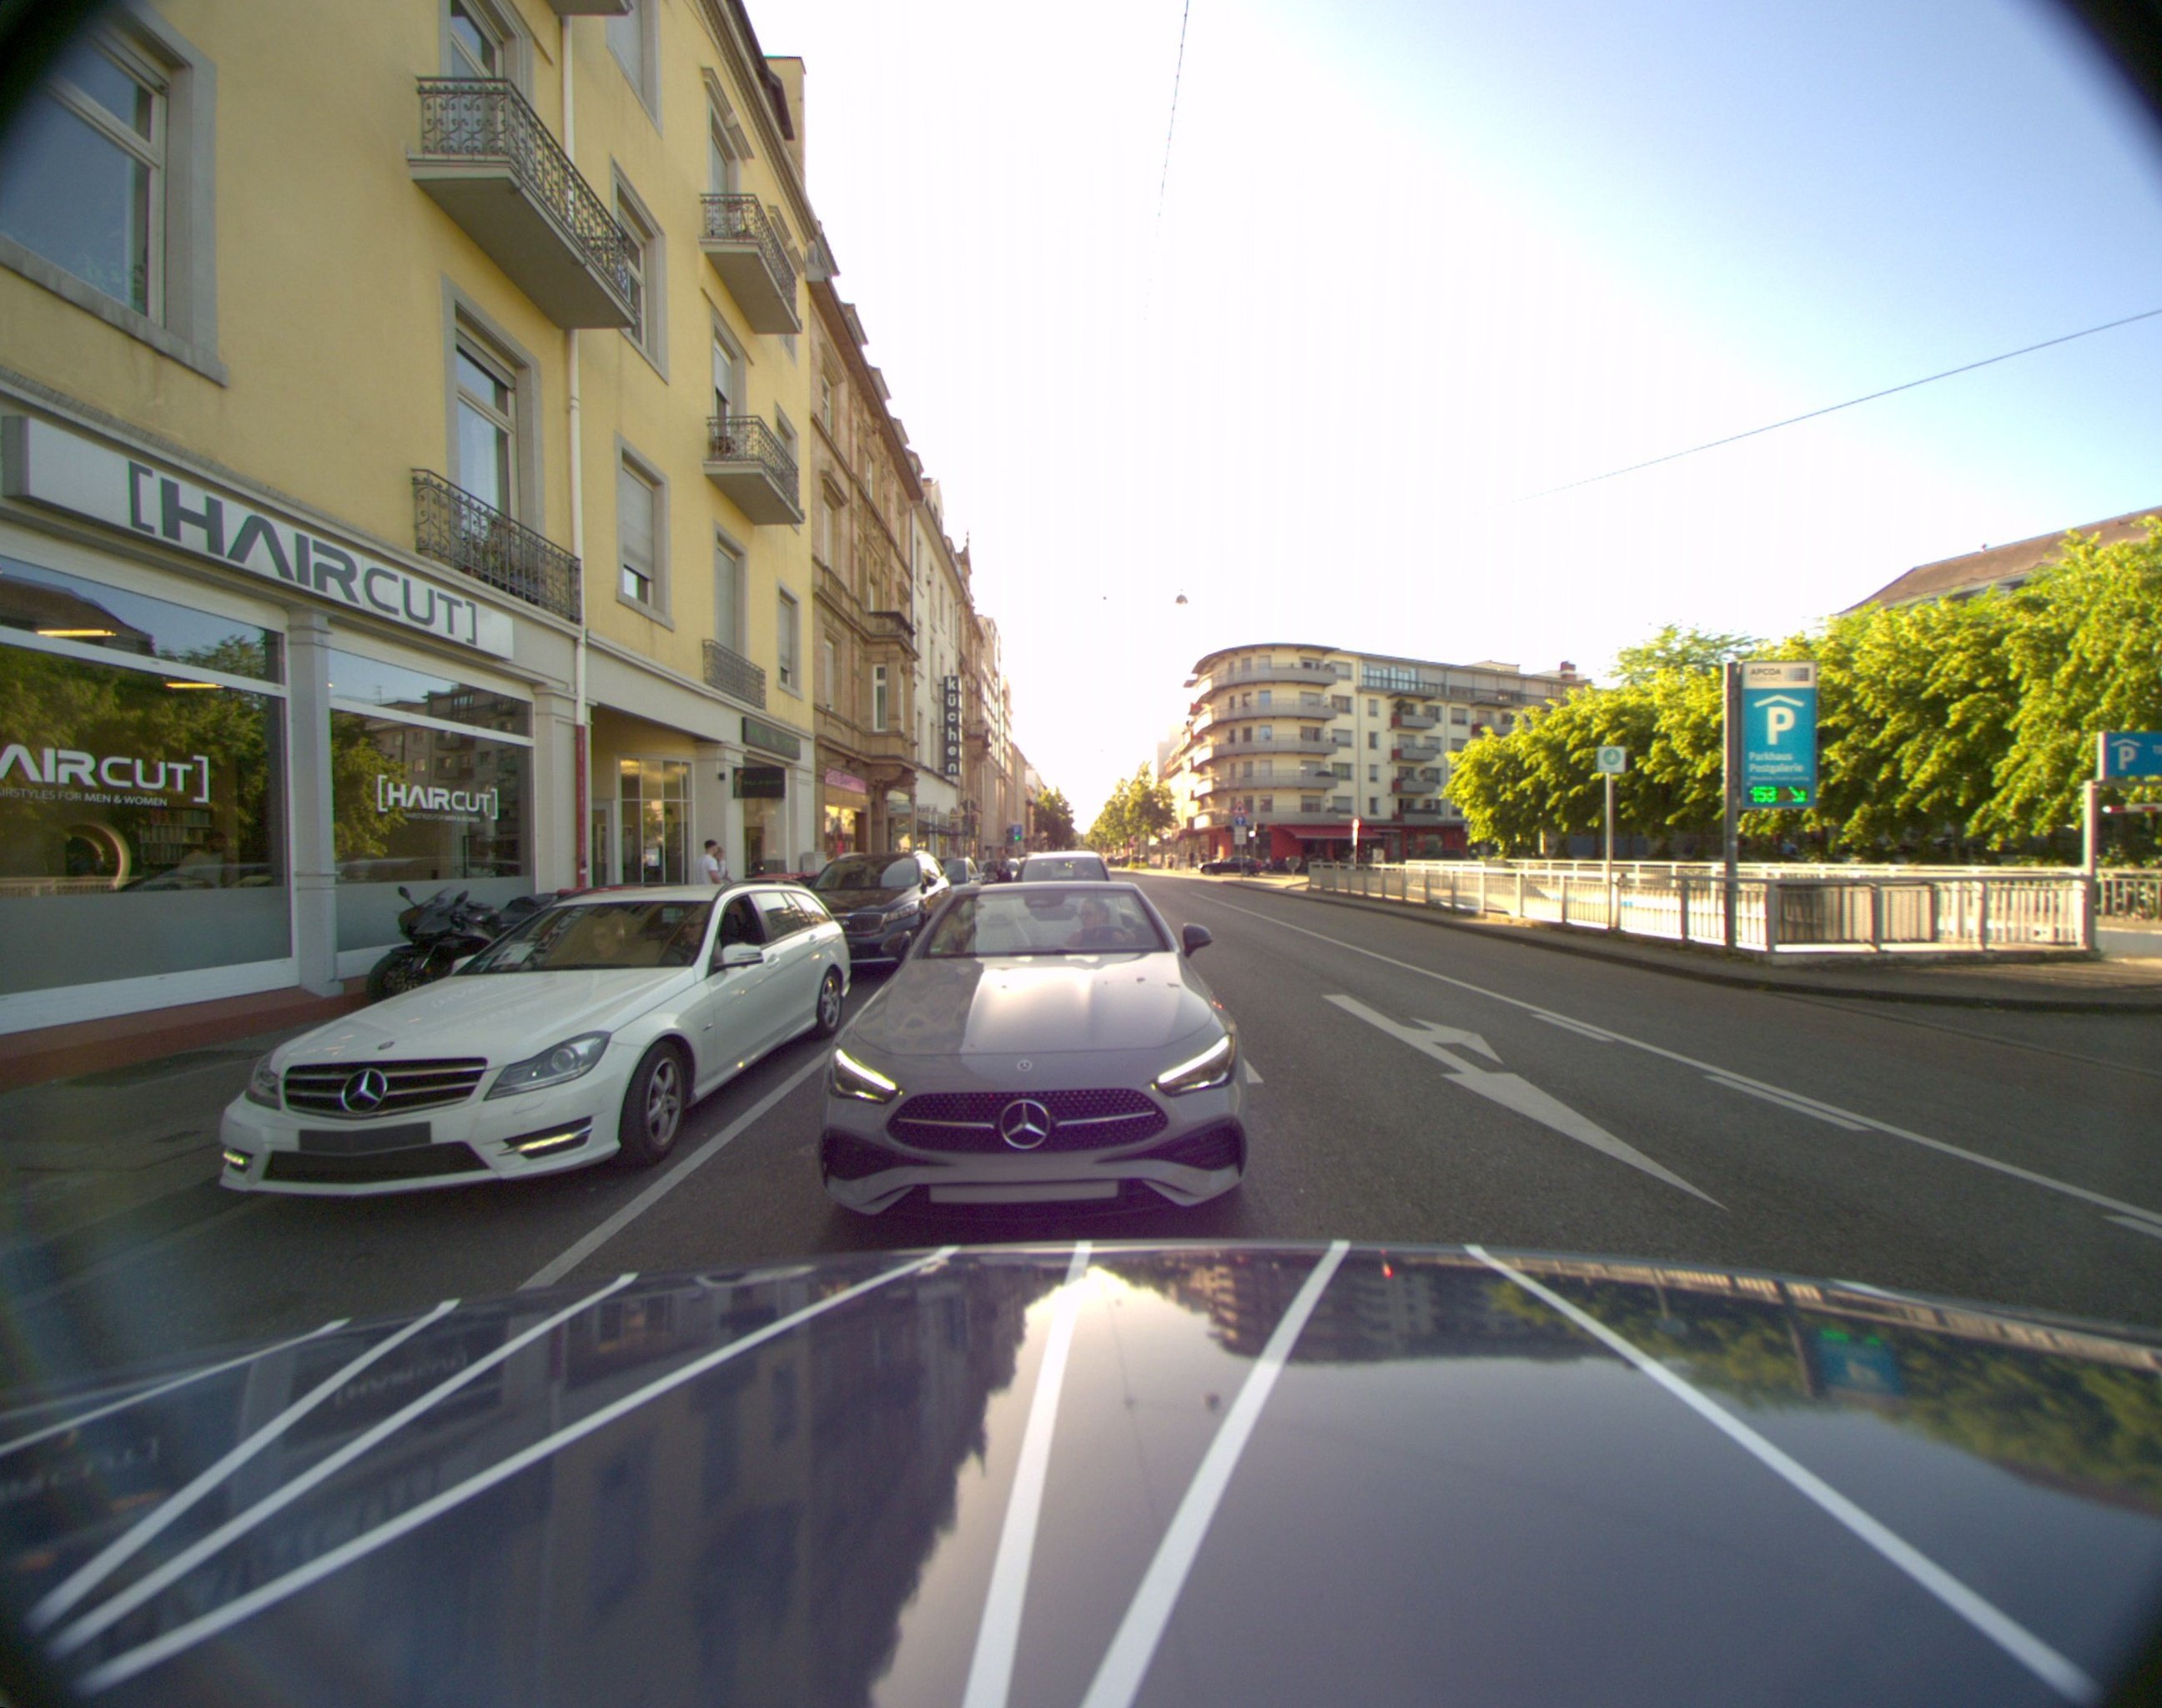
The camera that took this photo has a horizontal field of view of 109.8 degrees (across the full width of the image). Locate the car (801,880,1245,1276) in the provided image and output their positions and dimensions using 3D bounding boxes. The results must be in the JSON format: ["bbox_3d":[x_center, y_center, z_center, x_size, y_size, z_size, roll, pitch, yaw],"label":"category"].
[{"bbox_3d":[-0.286,0.993,5.361,1.769,1.360,4.471,-2,1,-2],"label":"car"}]

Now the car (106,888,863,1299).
[{"bbox_3d":[-3.031,1.068,5.250,1.672,1.364,4.377,-2,1,1],"label":"car"}]

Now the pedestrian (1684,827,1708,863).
[{"bbox_3d":[31.895,-0.457,39.413,0.748,1.832,0.683,-3,1,-21],"label":"pedestrian"}]

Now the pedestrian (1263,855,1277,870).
[{"bbox_3d":[14.915,0.660,60.042,0.780,1.191,0.884,-2,1,-10],"label":"pedestrian"}]

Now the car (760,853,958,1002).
[{"bbox_3d":[-3.018,0.885,11.341,1.806,1.680,4.408,-2,1,-3],"label":"car"}]

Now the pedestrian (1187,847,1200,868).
[{"bbox_3d":[10.720,0.350,72.447,0.990,1.908,0.790,-2,1,-3],"label":"pedestrian"}]

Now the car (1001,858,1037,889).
[{"bbox_3d":[-2.960,0.895,36.684,1.461,1.310,3.362,-2,1,-1],"label":"car"}]

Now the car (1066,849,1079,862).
[{"bbox_3d":[-1.147,0.180,101.433,1.695,1.635,3.599,-2,1,-1],"label":"car"}]

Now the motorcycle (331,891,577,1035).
[{"bbox_3d":[-6.260,1.019,7.791,0.735,1.124,2.109,2,1,1],"label":"motorcycle"}]

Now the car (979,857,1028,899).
[{"bbox_3d":[-3.032,0.897,30.315,1.695,1.482,3.796,-2,1,-3],"label":"car"}]

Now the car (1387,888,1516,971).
[{"bbox_3d":[10.332,2.035,21.529,1.638,1.523,3.903,-2,6,-2],"label":"car"}]

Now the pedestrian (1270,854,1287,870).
[{"bbox_3d":[15.422,0.648,59.384,0.937,1.191,0.832,-3,1,-24],"label":"pedestrian"}]

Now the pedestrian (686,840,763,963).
[{"bbox_3d":[-5.676,0.724,12.104,0.975,1.866,0.534,-3,1,-31],"label":"pedestrian"}]

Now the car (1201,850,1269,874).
[{"bbox_3d":[10.534,0.546,51.939,4.239,1.521,1.679,-2,1,24],"label":"car"}]

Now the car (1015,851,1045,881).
[{"bbox_3d":[-3.159,0.710,47.550,1.695,1.670,3.880,-2,1,-3],"label":"car"}]

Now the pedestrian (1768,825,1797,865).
[{"bbox_3d":[33.584,-0.433,36.385,0.748,1.832,0.683,-2,1,-13],"label":"pedestrian"}]

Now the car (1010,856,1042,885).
[{"bbox_3d":[-2.948,0.860,40.953,1.461,1.391,3.362,-2,1,-1],"label":"car"}]

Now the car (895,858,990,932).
[{"bbox_3d":[-3.187,0.900,17.992,1.583,1.514,2.998,-2,1,1],"label":"car"}]

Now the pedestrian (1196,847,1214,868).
[{"bbox_3d":[10.417,0.285,63.672,1.062,1.739,0.960,-3,1,-24],"label":"pedestrian"}]

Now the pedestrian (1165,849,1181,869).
[{"bbox_3d":[8.201,0.445,67.512,1.070,1.709,1.079,-2,1,-12],"label":"pedestrian"}]

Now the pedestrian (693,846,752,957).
[{"bbox_3d":[-6.154,0.789,13.063,0.630,1.826,0.770,-2,1,-7],"label":"pedestrian"}]

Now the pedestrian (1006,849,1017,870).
[{"bbox_3d":[-5.930,0.447,64.661,0.826,1.750,0.823,-2,1,-1],"label":"pedestrian"}]

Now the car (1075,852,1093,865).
[{"bbox_3d":[0.309,0.478,90.105,1.696,1.437,3.574,-2,1,-6],"label":"car"}]

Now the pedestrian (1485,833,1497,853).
[{"bbox_3d":[38.354,-1.003,71.059,0.747,1.832,0.684,-2,1,1],"label":"pedestrian"}]

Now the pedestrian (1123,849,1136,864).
[{"bbox_3d":[6.101,0.261,95.062,1.223,1.826,1.201,-2,1,-14],"label":"pedestrian"}]

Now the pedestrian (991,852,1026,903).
[{"bbox_3d":[-2.514,0.797,26.303,0.835,1.709,0.821,-2,1,24],"label":"pedestrian"}]

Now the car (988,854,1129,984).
[{"bbox_3d":[-0.370,0.889,12.761,1.866,1.658,4.706,-2,1,-2],"label":"car"}]

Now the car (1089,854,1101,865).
[{"bbox_3d":[2.360,0.881,128.648,1.836,1.831,3.886,1,1,-2],"label":"car"}]

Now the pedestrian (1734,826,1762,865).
[{"bbox_3d":[32.263,-0.396,36.729,0.748,1.852,0.683,-2,1,-13],"label":"pedestrian"}]

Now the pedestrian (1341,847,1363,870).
[{"bbox_3d":[19.511,0.320,54.623,1.269,1.656,1.142,-2,1,29],"label":"pedestrian"}]
